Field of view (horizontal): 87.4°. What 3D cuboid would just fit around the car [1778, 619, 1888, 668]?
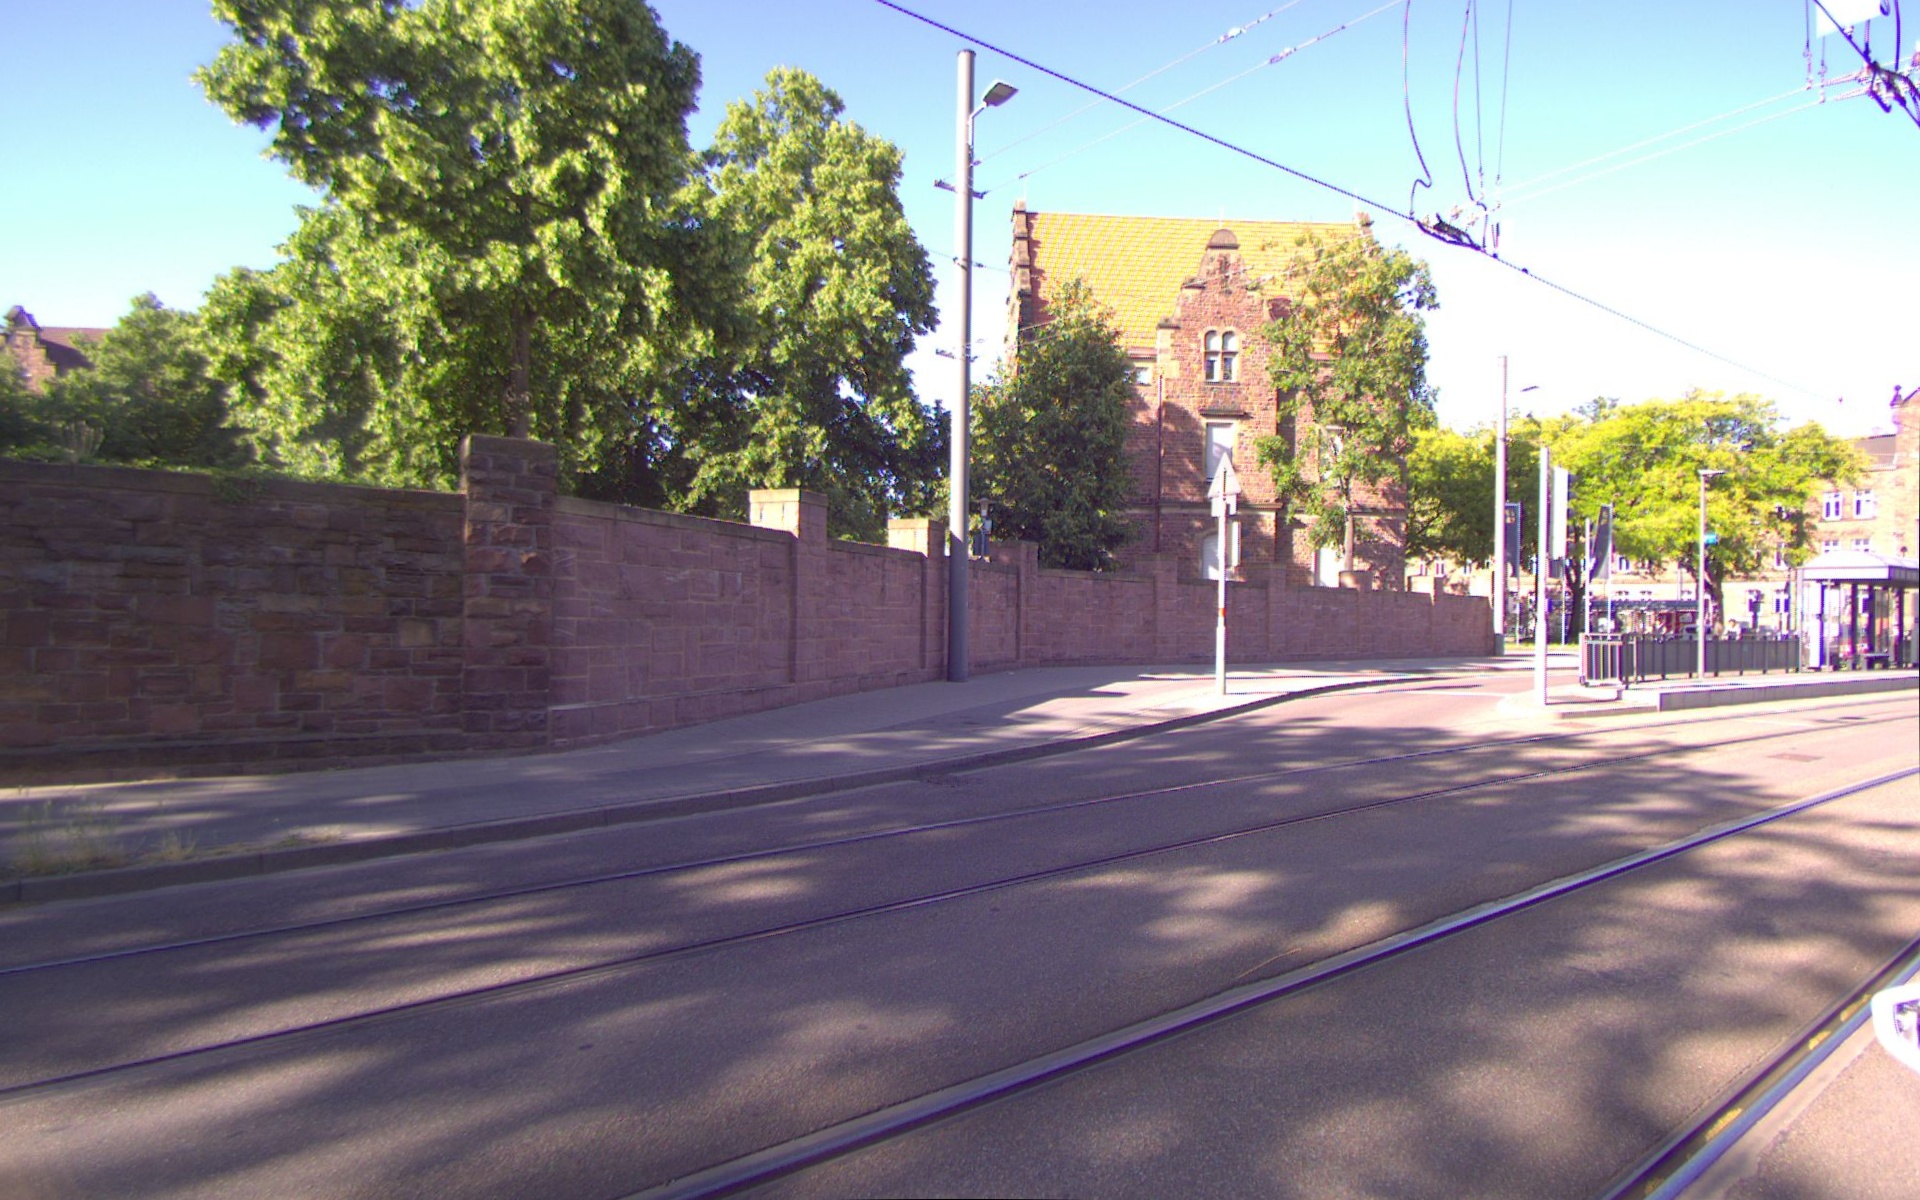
[{"bbox_3d":[31.125,1.524,35.781,4.311,1.628,1.808,1,-1,-32],"label":"car"}]

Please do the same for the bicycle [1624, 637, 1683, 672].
[{"bbox_3d":[22.834,1.775,33.056,2.036,1.103,0.682,1,0,-26],"label":"bicycle"}]

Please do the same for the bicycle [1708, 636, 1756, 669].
[{"bbox_3d":[27.988,1.913,36.428,1.832,1.102,0.682,4,-5,-28],"label":"bicycle"}]

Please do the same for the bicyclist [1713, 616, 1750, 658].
[{"bbox_3d":[27.977,1.343,36.429,1.137,1.478,0.650,1,0,-27],"label":"bicyclist"}]

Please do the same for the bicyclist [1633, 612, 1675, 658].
[{"bbox_3d":[22.840,1.158,33.060,1.136,1.478,0.651,1,0,-25],"label":"bicyclist"}]

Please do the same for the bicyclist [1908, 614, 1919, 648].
[{"bbox_3d":[44.884,1.449,46.817,1.334,1.556,0.756,1,-1,-34],"label":"bicyclist"}]

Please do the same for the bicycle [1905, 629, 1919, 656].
[{"bbox_3d":[44.857,1.976,46.789,2.067,1.247,0.772,1,-1,-34],"label":"bicycle"}]
